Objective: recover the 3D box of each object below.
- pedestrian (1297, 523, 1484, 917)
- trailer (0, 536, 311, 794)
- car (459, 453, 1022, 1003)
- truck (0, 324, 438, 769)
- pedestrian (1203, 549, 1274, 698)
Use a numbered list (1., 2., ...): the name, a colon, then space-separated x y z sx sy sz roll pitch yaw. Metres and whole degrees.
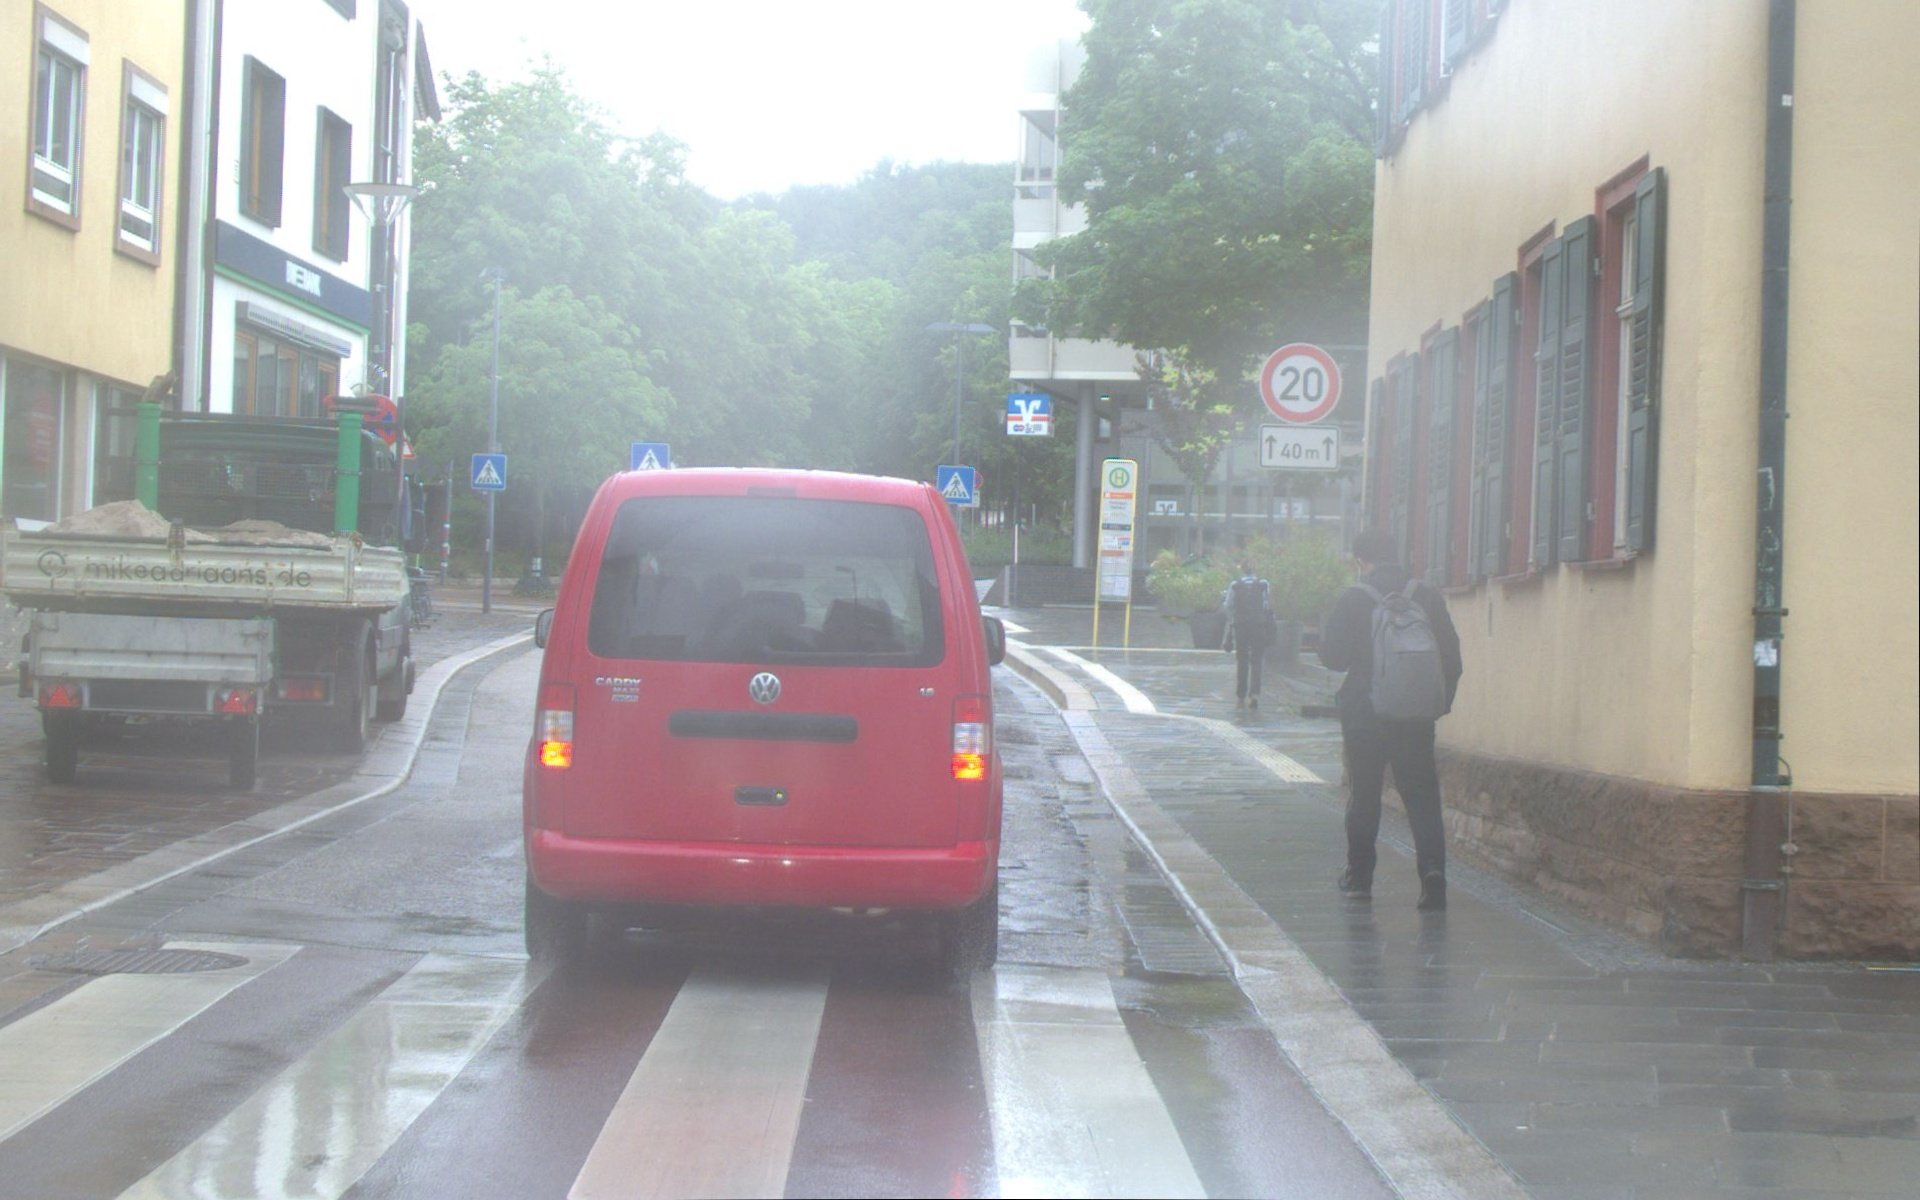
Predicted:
1. pedestrian: 1.905 0.510 15.301 0.714 1.687 0.868 2 1 3
2. trailer: -4.860 0.325 20.225 1.727 1.342 3.161 1 2 -5
3. car: -0.886 0.422 13.814 1.862 1.824 4.186 2 0 -4
4. truck: -5.277 -0.429 25.077 2.473 2.785 6.601 1 2 -5
5. pedestrian: 3.078 0.257 38.015 0.728 1.611 0.694 1 0 2
